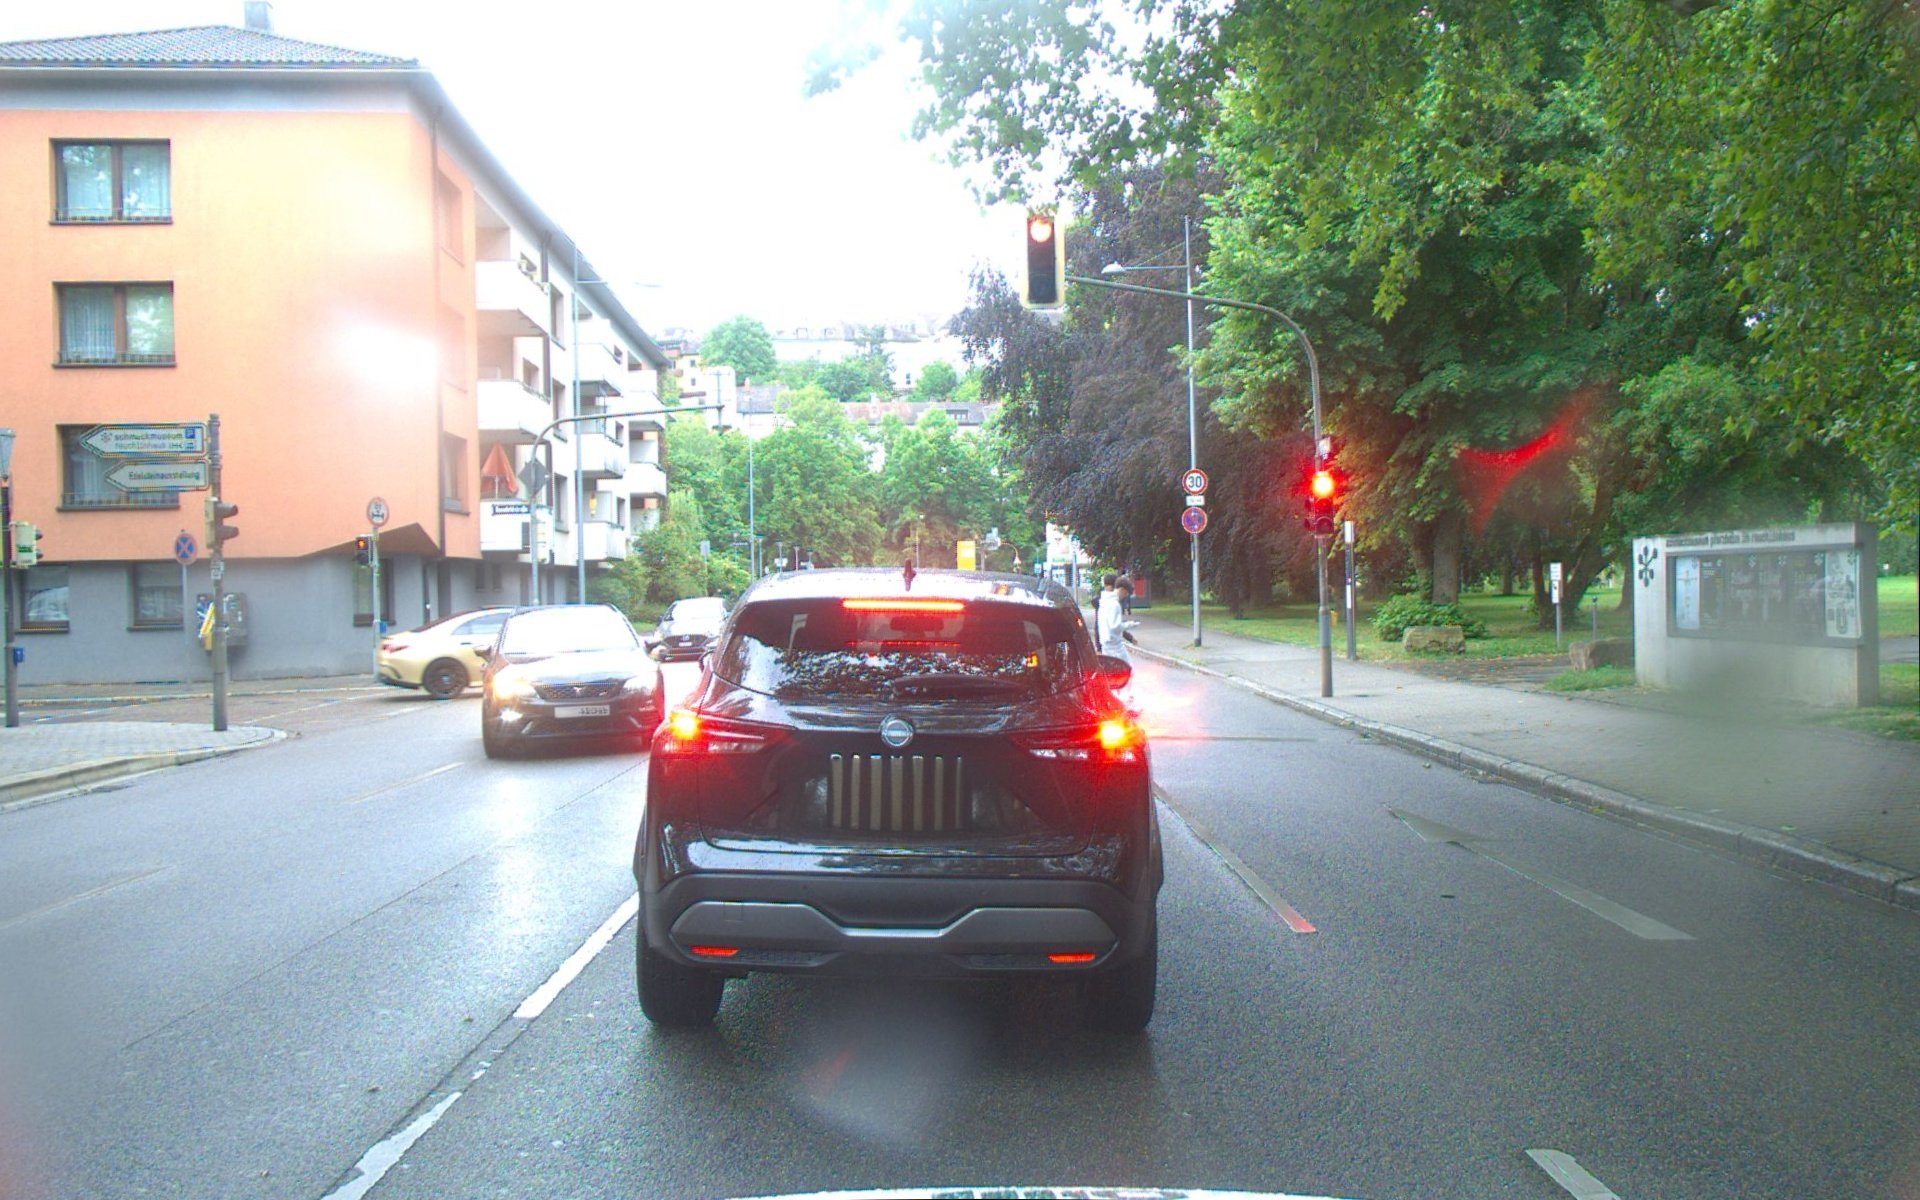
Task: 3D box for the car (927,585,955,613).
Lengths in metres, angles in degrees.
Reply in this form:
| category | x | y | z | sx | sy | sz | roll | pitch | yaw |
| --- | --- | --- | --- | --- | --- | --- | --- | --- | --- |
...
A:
| category | x | y | z | sx | sy | sz | roll | pitch | yaw |
| --- | --- | --- | --- | --- | --- | --- | --- | --- | --- |
| car | -1.134 | -0.081 | 98.622 | 1.601 | 1.559 | 3.967 | -2 | 0 | -1 |

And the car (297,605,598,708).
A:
| category | x | y | z | sx | sy | sz | roll | pitch | yaw |
| --- | --- | --- | --- | --- | --- | --- | --- | --- | --- |
| car | -8.428 | 0.883 | 27.313 | 4.568 | 1.428 | 1.821 | -2 | 0 | -20 |

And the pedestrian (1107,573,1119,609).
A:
| category | x | y | z | sx | sy | sz | roll | pitch | yaw |
| --- | --- | --- | --- | --- | --- | --- | --- | --- | --- |
| pedestrian | 6.518 | -0.393 | 70.492 | 0.382 | 1.528 | 0.559 | -2 | 0 | -1 |

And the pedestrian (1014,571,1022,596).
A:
| category | x | y | z | sx | sy | sz | roll | pitch | yaw |
| --- | --- | --- | --- | --- | --- | --- | --- | --- | --- |
| pedestrian | 4.356 | -1.209 | 123.439 | 0.498 | 1.833 | 0.619 | -2 | 0 | -1 |

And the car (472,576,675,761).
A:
| category | x | y | z | sx | sy | sz | roll | pitch | yaw |
| --- | --- | --- | --- | --- | --- | --- | --- | --- | --- |
| car | -3.982 | 0.635 | 17.616 | 1.812 | 1.654 | 4.128 | -2 | 0 | -10 |

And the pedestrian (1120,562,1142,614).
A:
| category | x | y | z | sx | sy | sz | roll | pitch | yaw |
| --- | --- | --- | --- | --- | --- | --- | --- | --- | --- |
| pedestrian | 6.821 | -0.467 | 65.959 | 0.710 | 2.049 | 0.851 | -2 | 0 | -1 |

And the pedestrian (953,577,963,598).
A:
| category | x | y | z | sx | sy | sz | roll | pitch | yaw |
| --- | --- | --- | --- | --- | --- | --- | --- | --- | --- |
| pedestrian | -0.181 | -1.049 | 135.132 | 0.498 | 1.702 | 0.658 | -2 | 0 | 27 |

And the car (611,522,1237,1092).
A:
| category | x | y | z | sx | sy | sz | roll | pitch | yaw |
| --- | --- | --- | --- | --- | --- | --- | --- | --- | --- |
| car | -0.128 | 0.613 | 6.981 | 1.874 | 1.709 | 3.999 | 0 | 0 | -1 |

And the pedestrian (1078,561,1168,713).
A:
| category | x | y | z | sx | sy | sz | roll | pitch | yaw |
| --- | --- | --- | --- | --- | --- | --- | --- | --- | --- |
| pedestrian | 2.086 | 0.465 | 21.260 | 1.017 | 1.909 | 0.656 | 0 | 0 | -11 |

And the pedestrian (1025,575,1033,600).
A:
| category | x | y | z | sx | sy | sz | roll | pitch | yaw |
| --- | --- | --- | --- | --- | --- | --- | --- | --- | --- |
| pedestrian | 5.098 | -0.911 | 122.543 | 0.498 | 1.833 | 0.658 | -2 | 0 | -3 |

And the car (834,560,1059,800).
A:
| category | x | y | z | sx | sy | sz | roll | pitch | yaw |
| --- | --- | --- | --- | --- | --- | --- | --- | --- | --- |
| car | -0.125 | 0.596 | 14.471 | 1.664 | 1.776 | 3.640 | -2 | 0 | -1 |

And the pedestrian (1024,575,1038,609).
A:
| category | x | y | z | sx | sy | sz | roll | pitch | yaw |
| --- | --- | --- | --- | --- | --- | --- | --- | --- | --- |
| pedestrian | 3.817 | -0.421 | 88.581 | 0.501 | 1.833 | 0.615 | -2 | 0 | -22 |

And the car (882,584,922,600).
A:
| category | x | y | z | sx | sy | sz | roll | pitch | yaw |
| --- | --- | --- | --- | --- | --- | --- | --- | --- | --- |
| car | -5.890 | -0.834 | 168.942 | 3.931 | 1.559 | 1.616 | -2 | 1 | -41 |

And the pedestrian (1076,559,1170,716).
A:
| category | x | y | z | sx | sy | sz | roll | pitch | yaw |
| --- | --- | --- | --- | --- | --- | --- | --- | --- | --- |
| pedestrian | 2.014 | 0.460 | 20.525 | 1.017 | 1.909 | 0.656 | 0 | 0 | -11 |

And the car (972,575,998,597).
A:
| category | x | y | z | sx | sy | sz | roll | pitch | yaw |
| --- | --- | --- | --- | --- | --- | --- | --- | --- | --- |
| car | 2.111 | -1.130 | 138.064 | 1.952 | 1.765 | 4.002 | 1 | 0 | 4 |

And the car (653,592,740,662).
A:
| category | x | y | z | sx | sy | sz | roll | pitch | yaw |
| --- | --- | --- | --- | --- | --- | --- | --- | --- | --- |
| car | -6.448 | 0.623 | 40.798 | 1.760 | 1.560 | 3.864 | -2 | 0 | -4 |

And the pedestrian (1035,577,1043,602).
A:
| category | x | y | z | sx | sy | sz | roll | pitch | yaw |
| --- | --- | --- | --- | --- | --- | --- | --- | --- | --- |
| pedestrian | 5.866 | -0.809 | 122.651 | 0.498 | 1.833 | 0.619 | -2 | 0 | -2 |
